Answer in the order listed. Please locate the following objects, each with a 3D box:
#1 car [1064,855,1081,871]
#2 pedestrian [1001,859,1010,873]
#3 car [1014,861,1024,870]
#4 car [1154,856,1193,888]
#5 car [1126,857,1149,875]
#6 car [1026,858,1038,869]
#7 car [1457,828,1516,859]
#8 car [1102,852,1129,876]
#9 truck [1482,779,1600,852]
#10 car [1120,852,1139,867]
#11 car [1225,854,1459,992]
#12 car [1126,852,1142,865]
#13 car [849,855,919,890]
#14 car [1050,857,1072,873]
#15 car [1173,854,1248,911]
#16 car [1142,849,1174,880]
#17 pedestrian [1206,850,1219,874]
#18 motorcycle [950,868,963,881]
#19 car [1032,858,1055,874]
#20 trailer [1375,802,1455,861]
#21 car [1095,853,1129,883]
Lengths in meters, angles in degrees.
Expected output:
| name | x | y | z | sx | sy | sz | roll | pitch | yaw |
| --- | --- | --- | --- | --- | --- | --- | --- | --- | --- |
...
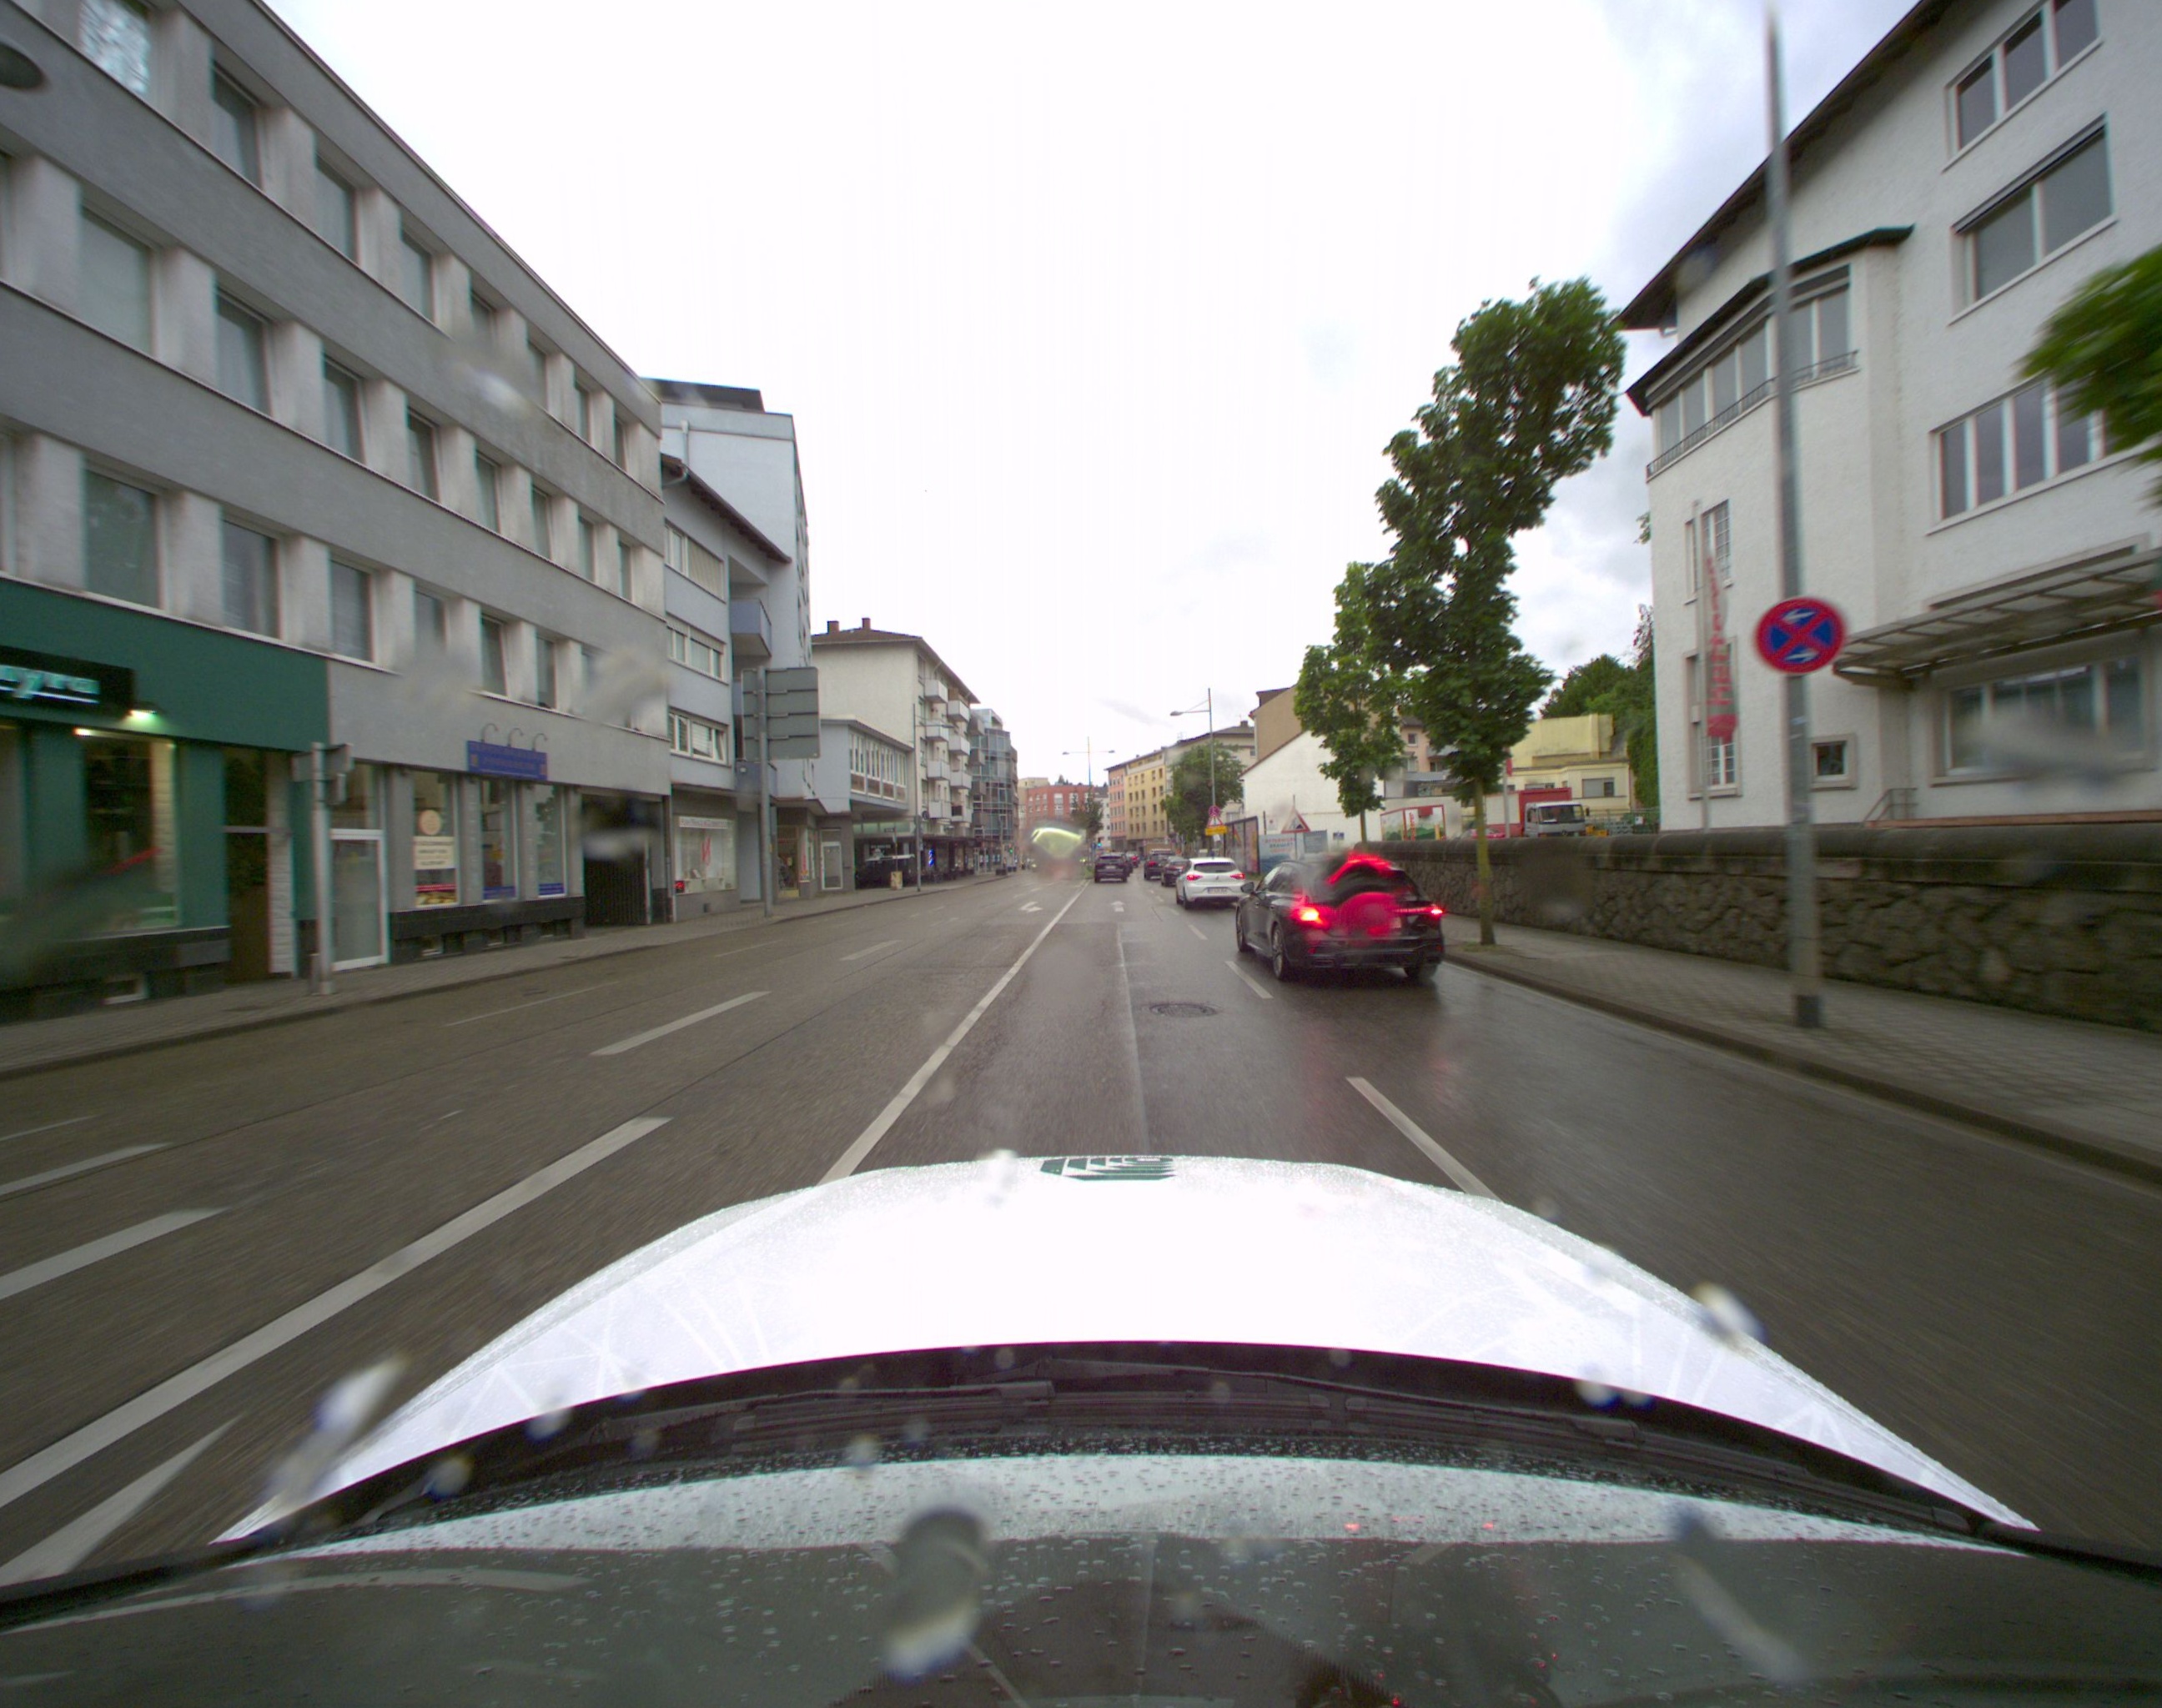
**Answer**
| name | x | y | z | sx | sy | sz | roll | pitch | yaw |
| --- | --- | --- | --- | --- | --- | --- | --- | --- | --- |
| car | -1.005 | 1.067 | 96.956 | 1.676 | 1.661 | 4.099 | -4 | 0 | 3 |
| pedestrian | -8.830 | 1.384 | 95.192 | 0.786 | 1.591 | 0.755 | -3 | -1 | -34 |
| car | -9.872 | 1.811 | 129.337 | 1.454 | 1.430 | 3.360 | 0 | 0 | -8 |
| car | 4.454 | 0.836 | 39.279 | 1.777 | 1.400 | 3.725 | -1 | 0 | 6 |
| car | 4.570 | 0.971 | 66.005 | 1.635 | 1.381 | 3.349 | -3 | 0 | 1 |
| car | -7.029 | 1.349 | 117.611 | 1.548 | 1.570 | 3.340 | 0 | -1 | -7 |
| car | 20.482 | -0.511 | 41.266 | 1.581 | 1.456 | 3.270 | -3 | 0 | 6 |
| car | 2.435 | 0.675 | 56.485 | 1.815 | 1.600 | 3.722 | 0 | 0 | 3 |
| truck | 23.164 | -1.787 | 41.460 | 2.618 | 3.216 | 6.942 | -4 | 0 | 7 |
| car | 4.828 | 0.570 | 81.333 | 1.635 | 1.381 | 3.349 | -3 | 0 | 1 |
| car | 3.224 | 0.754 | 11.110 | 1.783 | 1.403 | 4.635 | -3 | 0 | 2 |
| car | 6.090 | 0.476 | 94.442 | 1.635 | 1.381 | 3.349 | -3 | 0 | 1 |
| car | -12.599 | 1.186 | 52.177 | 3.948 | 2.034 | 1.581 | -2 | -1 | 2 |
| car | -1.862 | 1.018 | 76.624 | 1.713 | 1.423 | 4.168 | -4 | 0 | 3 |
| car | 3.694 | 0.764 | 23.745 | 1.658 | 1.396 | 3.869 | -2 | 1 | 2 |
| car | 4.645 | 0.603 | 49.533 | 1.822 | 1.805 | 3.723 | 0 | 1 | 4 |
| pedestrian | 9.851 | 0.591 | 60.983 | 0.785 | 1.755 | 0.875 | -3 | -1 | 15 |
| motorcycle | -9.481 | 1.554 | 62.079 | 0.523 | 0.995 | 2.139 | 0 | 0 | 4 |
| car | -3.829 | 1.216 | 83.505 | 1.701 | 1.468 | 4.833 | -5 | 0 | 3 |
| trailer | 17.211 | -1.094 | 42.284 | 2.117 | 2.716 | 5.398 | -4 | 0 | 5 |
| car | 1.807 | 0.778 | 46.273 | 1.815 | 1.600 | 3.722 | 0 | 0 | 3 |
